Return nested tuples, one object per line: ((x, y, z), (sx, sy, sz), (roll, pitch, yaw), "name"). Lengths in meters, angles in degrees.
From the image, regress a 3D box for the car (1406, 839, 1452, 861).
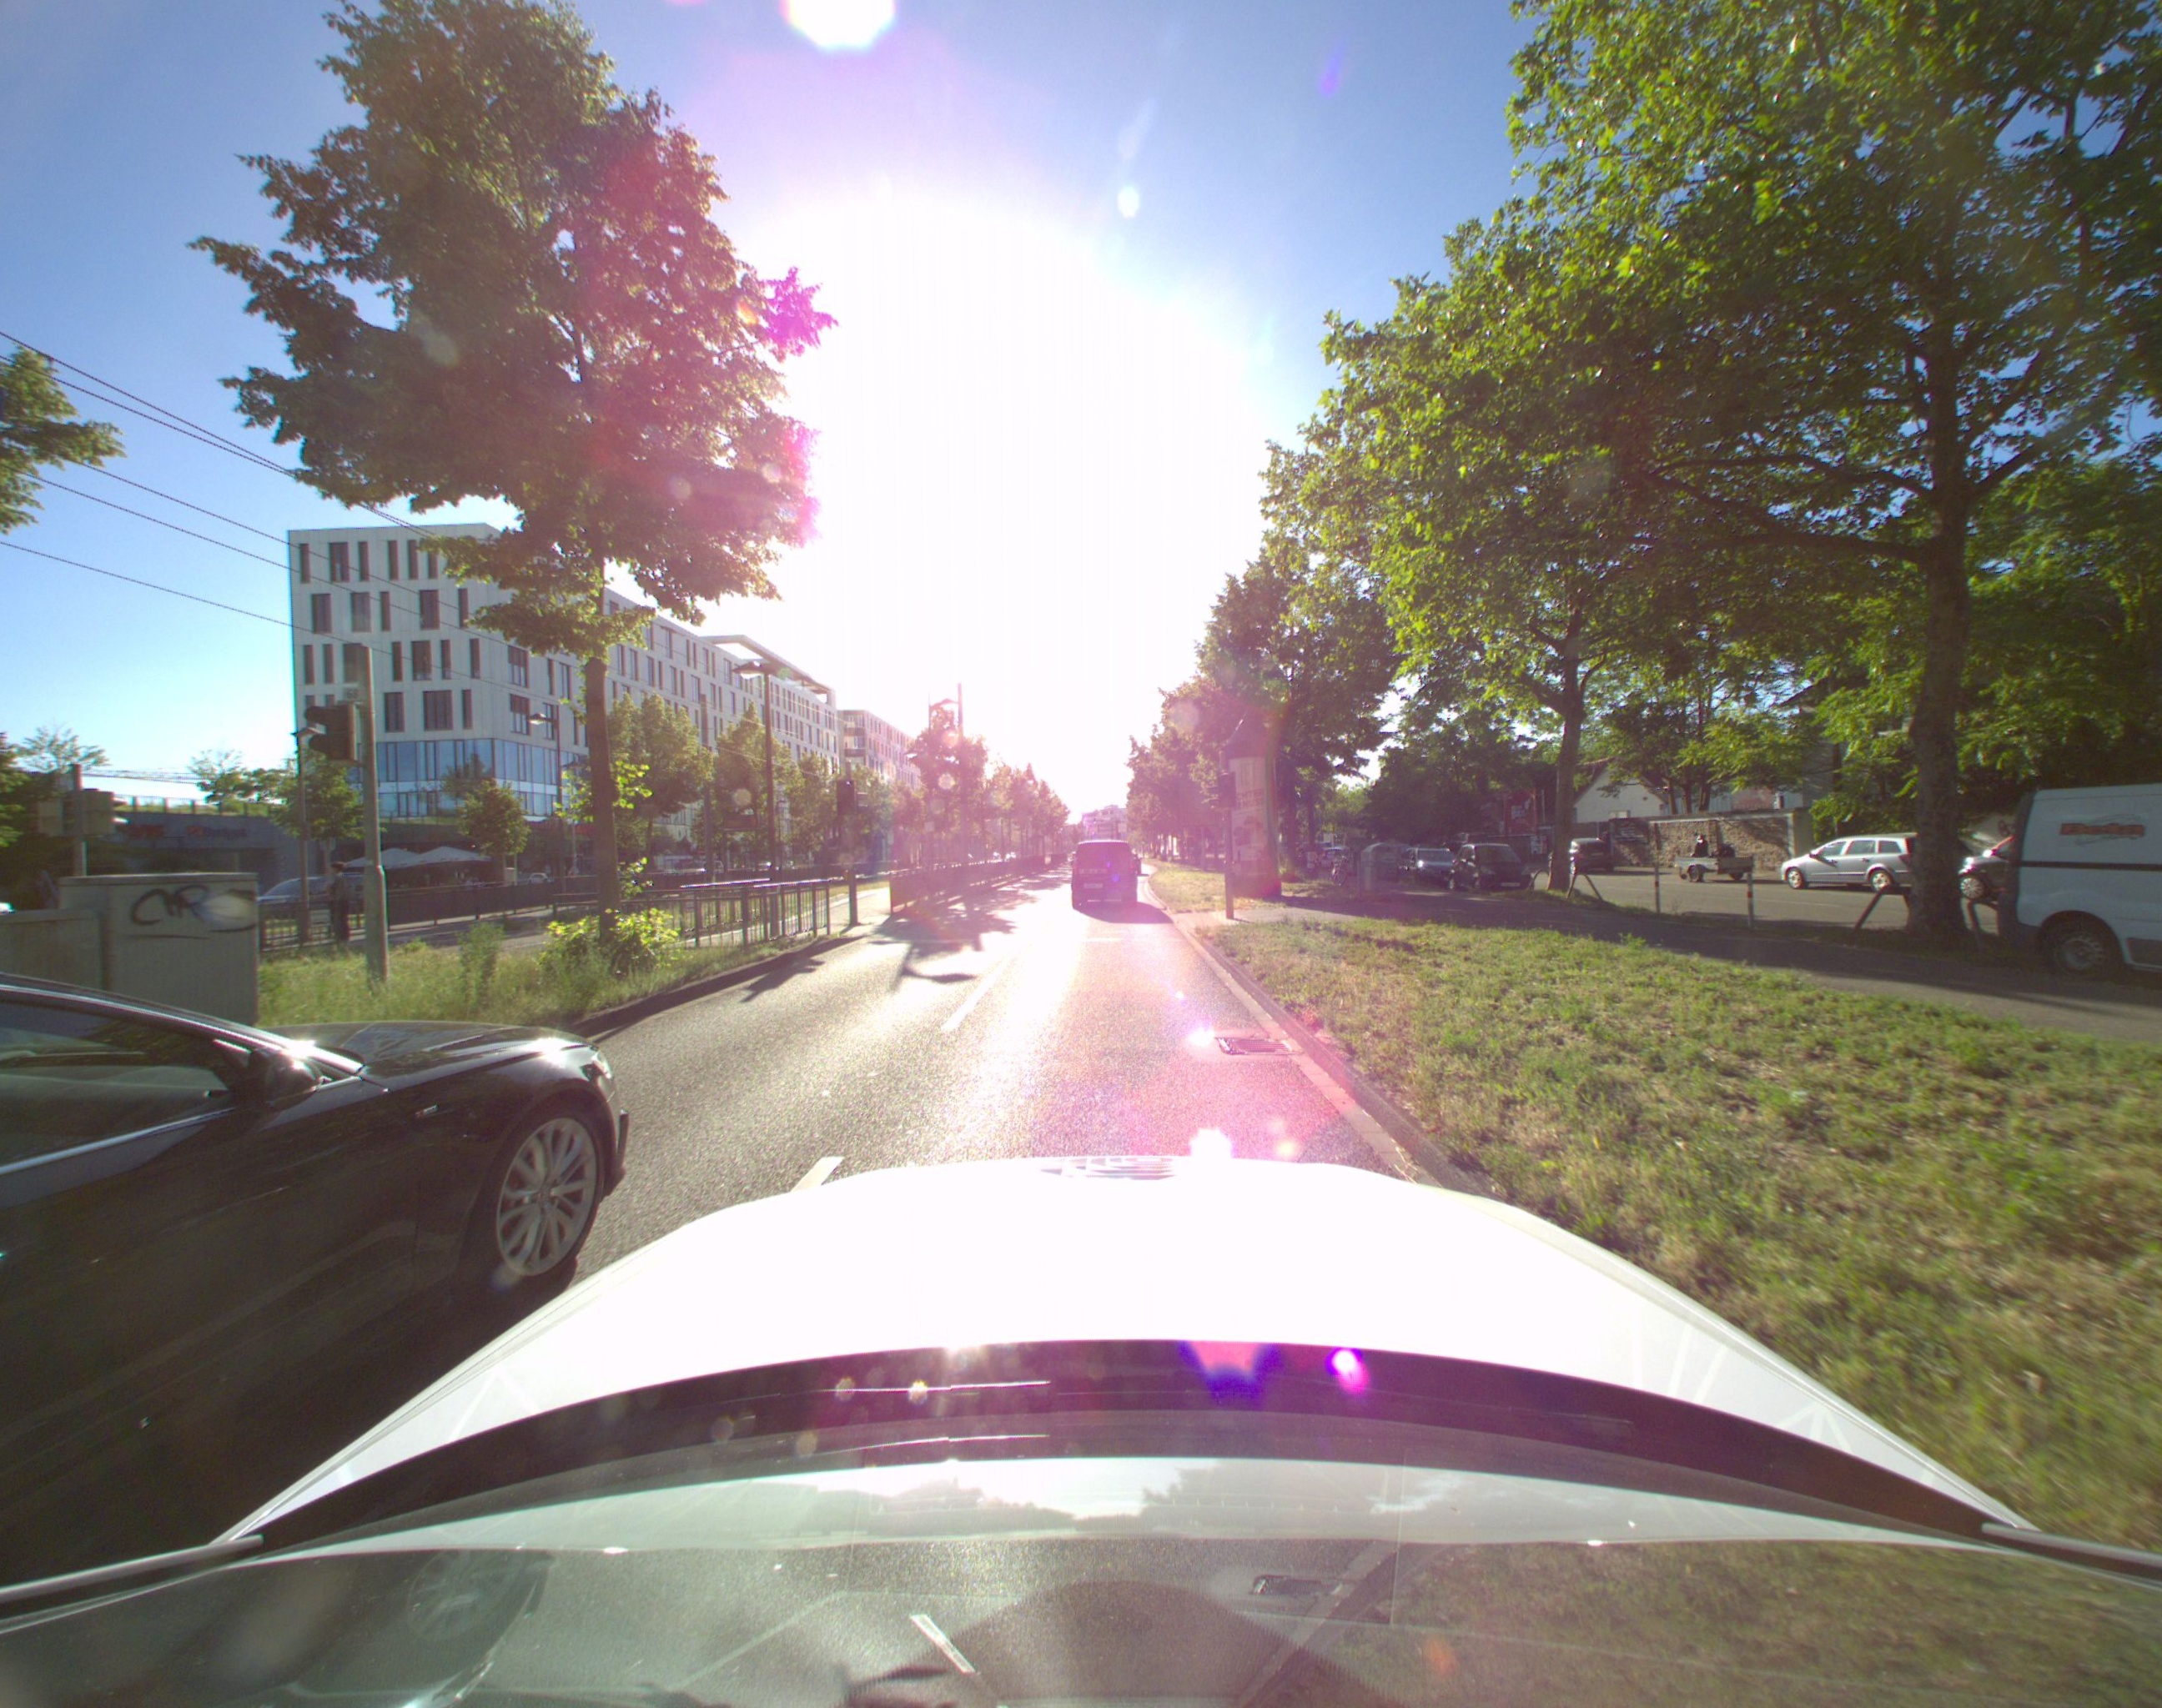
((24.665, -0.274, 57.898), (1.722, 1.371, 4.320), (-4, -1, 6), "car")

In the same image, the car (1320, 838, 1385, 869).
((14.284, -0.007, 43.154), (1.864, 1.524, 5.058), (0, 0, 2), "car")

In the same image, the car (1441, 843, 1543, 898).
((11.879, 0.468, 23.734), (1.654, 1.500, 2.993), (0, 0, 4), "car")

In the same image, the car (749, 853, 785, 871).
((-34.724, 0.876, 90.177), (1.985, 2.014, 4.566), (0, 0, 3), "car")

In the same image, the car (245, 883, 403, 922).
((-30.296, 1.905, 32.820), (1.905, 1.325, 4.614), (0, 0, 3), "car")

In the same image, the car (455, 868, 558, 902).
((-30.013, 1.595, 42.763), (1.985, 1.608, 4.614), (0, 0, 3), "car")

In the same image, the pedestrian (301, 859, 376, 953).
((-14.941, 1.025, 16.406), (0.818, 1.836, 0.726), (0, -1, -1), "pedestrian")

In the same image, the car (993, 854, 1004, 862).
((-20.695, 1.003, 204.293), (1.983, 1.765, 4.007), (0, 0, 6), "car")

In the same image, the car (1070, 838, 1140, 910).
((0.593, 0.511, 22.943), (1.803, 1.838, 3.998), (0, 0, -1), "car")

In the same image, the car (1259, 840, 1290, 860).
((16.899, -0.298, 71.169), (1.864, 1.684, 4.002), (0, 0, 2), "car")

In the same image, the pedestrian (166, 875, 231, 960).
((-16.264, 1.150, 15.016), (0.547, 1.518, 0.589), (0, -1, 7), "pedestrian")

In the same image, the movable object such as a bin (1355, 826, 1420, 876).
((12.786, -0.099, 34.096), (2.071, 2.014, 2.139), (0, 0, 6), "movable object such as a bin")

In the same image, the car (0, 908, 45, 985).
((-22.309, 1.841, 14.734), (1.987, 1.486, 3.999), (0, 0, 0), "car")

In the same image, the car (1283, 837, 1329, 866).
((14.883, -0.128, 54.050), (1.864, 1.820, 4.895), (0, 0, 2), "car")

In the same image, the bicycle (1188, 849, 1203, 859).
((14.532, 0.028, 103.228), (1.771, 1.268, 0.479), (0, -1, 2), "bicycle")

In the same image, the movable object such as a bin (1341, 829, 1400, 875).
((13.055, -0.096, 36.854), (2.071, 2.014, 2.139), (0, 0, 6), "movable object such as a bin")

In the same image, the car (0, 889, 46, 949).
((-30.593, 1.803, 20.954), (1.871, 1.621, 4.614), (0, 0, 3), "car")

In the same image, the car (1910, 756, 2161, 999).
((10.025, 0.185, 5.977), (2.180, 2.014, 5.825), (0, 0, 3), "car")

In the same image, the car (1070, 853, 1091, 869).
((-0.050, 0.769, 84.902), (1.986, 1.618, 4.002), (0, 0, 2), "car")

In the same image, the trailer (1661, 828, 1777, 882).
((21.823, 0.052, 28.003), (1.722, 1.640, 3.028), (-4, -1, 6), "trailer")

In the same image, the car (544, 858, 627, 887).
((-29.569, 1.057, 48.802), (1.985, 1.671, 4.614), (0, 0, 3), "car")

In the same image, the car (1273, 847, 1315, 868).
((15.384, 0.226, 59.010), (1.864, 1.434, 4.904), (0, 0, 2), "car")

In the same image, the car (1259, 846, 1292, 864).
((15.744, 0.099, 66.092), (1.864, 1.367, 4.002), (0, 0, 2), "car")

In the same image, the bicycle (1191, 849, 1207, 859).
((14.904, 0.031, 102.535), (1.910, 1.268, 0.479), (-1, 0, 2), "bicycle")

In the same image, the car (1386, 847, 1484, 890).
((12.489, 0.487, 29.107), (1.988, 1.384, 4.754), (0, 0, 8), "car")

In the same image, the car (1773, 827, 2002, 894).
((21.027, 0.173, 21.543), (1.983, 1.483, 4.332), (-4, -1, 6), "car")

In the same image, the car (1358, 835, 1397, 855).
((25.747, -0.786, 70.833), (1.863, 1.546, 4.694), (-3, 0, 3), "car")

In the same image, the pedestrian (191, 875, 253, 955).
((-16.577, 1.166, 15.728), (0.540, 1.497, 0.604), (0, -1, 5), "pedestrian")

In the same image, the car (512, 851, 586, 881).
((-37.273, 0.825, 57.195), (1.985, 2.014, 4.566), (0, 0, 3), "car")

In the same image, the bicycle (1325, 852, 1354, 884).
((8.698, 0.460, 27.427), (0.491, 1.046, 1.906), (0, 0, 4), "bicycle")

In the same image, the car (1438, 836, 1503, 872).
((23.964, -0.008, 50.266), (1.863, 2.002, 4.694), (-3, 0, 3), "car")

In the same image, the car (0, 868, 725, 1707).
((-2.816, 0.836, 1.397), (1.945, 1.480, 5.089), (-1, 0, 3), "car")

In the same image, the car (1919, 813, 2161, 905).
((20.591, 0.094, 17.276), (1.986, 1.607, 3.481), (-5, 0, 2), "car")

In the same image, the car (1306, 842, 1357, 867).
((14.728, 0.045, 48.046), (1.864, 1.389, 4.002), (0, 0, 2), "car")

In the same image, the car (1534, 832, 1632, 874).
((22.617, -0.049, 36.891), (1.985, 1.640, 4.003), (-4, -1, 3), "car")
